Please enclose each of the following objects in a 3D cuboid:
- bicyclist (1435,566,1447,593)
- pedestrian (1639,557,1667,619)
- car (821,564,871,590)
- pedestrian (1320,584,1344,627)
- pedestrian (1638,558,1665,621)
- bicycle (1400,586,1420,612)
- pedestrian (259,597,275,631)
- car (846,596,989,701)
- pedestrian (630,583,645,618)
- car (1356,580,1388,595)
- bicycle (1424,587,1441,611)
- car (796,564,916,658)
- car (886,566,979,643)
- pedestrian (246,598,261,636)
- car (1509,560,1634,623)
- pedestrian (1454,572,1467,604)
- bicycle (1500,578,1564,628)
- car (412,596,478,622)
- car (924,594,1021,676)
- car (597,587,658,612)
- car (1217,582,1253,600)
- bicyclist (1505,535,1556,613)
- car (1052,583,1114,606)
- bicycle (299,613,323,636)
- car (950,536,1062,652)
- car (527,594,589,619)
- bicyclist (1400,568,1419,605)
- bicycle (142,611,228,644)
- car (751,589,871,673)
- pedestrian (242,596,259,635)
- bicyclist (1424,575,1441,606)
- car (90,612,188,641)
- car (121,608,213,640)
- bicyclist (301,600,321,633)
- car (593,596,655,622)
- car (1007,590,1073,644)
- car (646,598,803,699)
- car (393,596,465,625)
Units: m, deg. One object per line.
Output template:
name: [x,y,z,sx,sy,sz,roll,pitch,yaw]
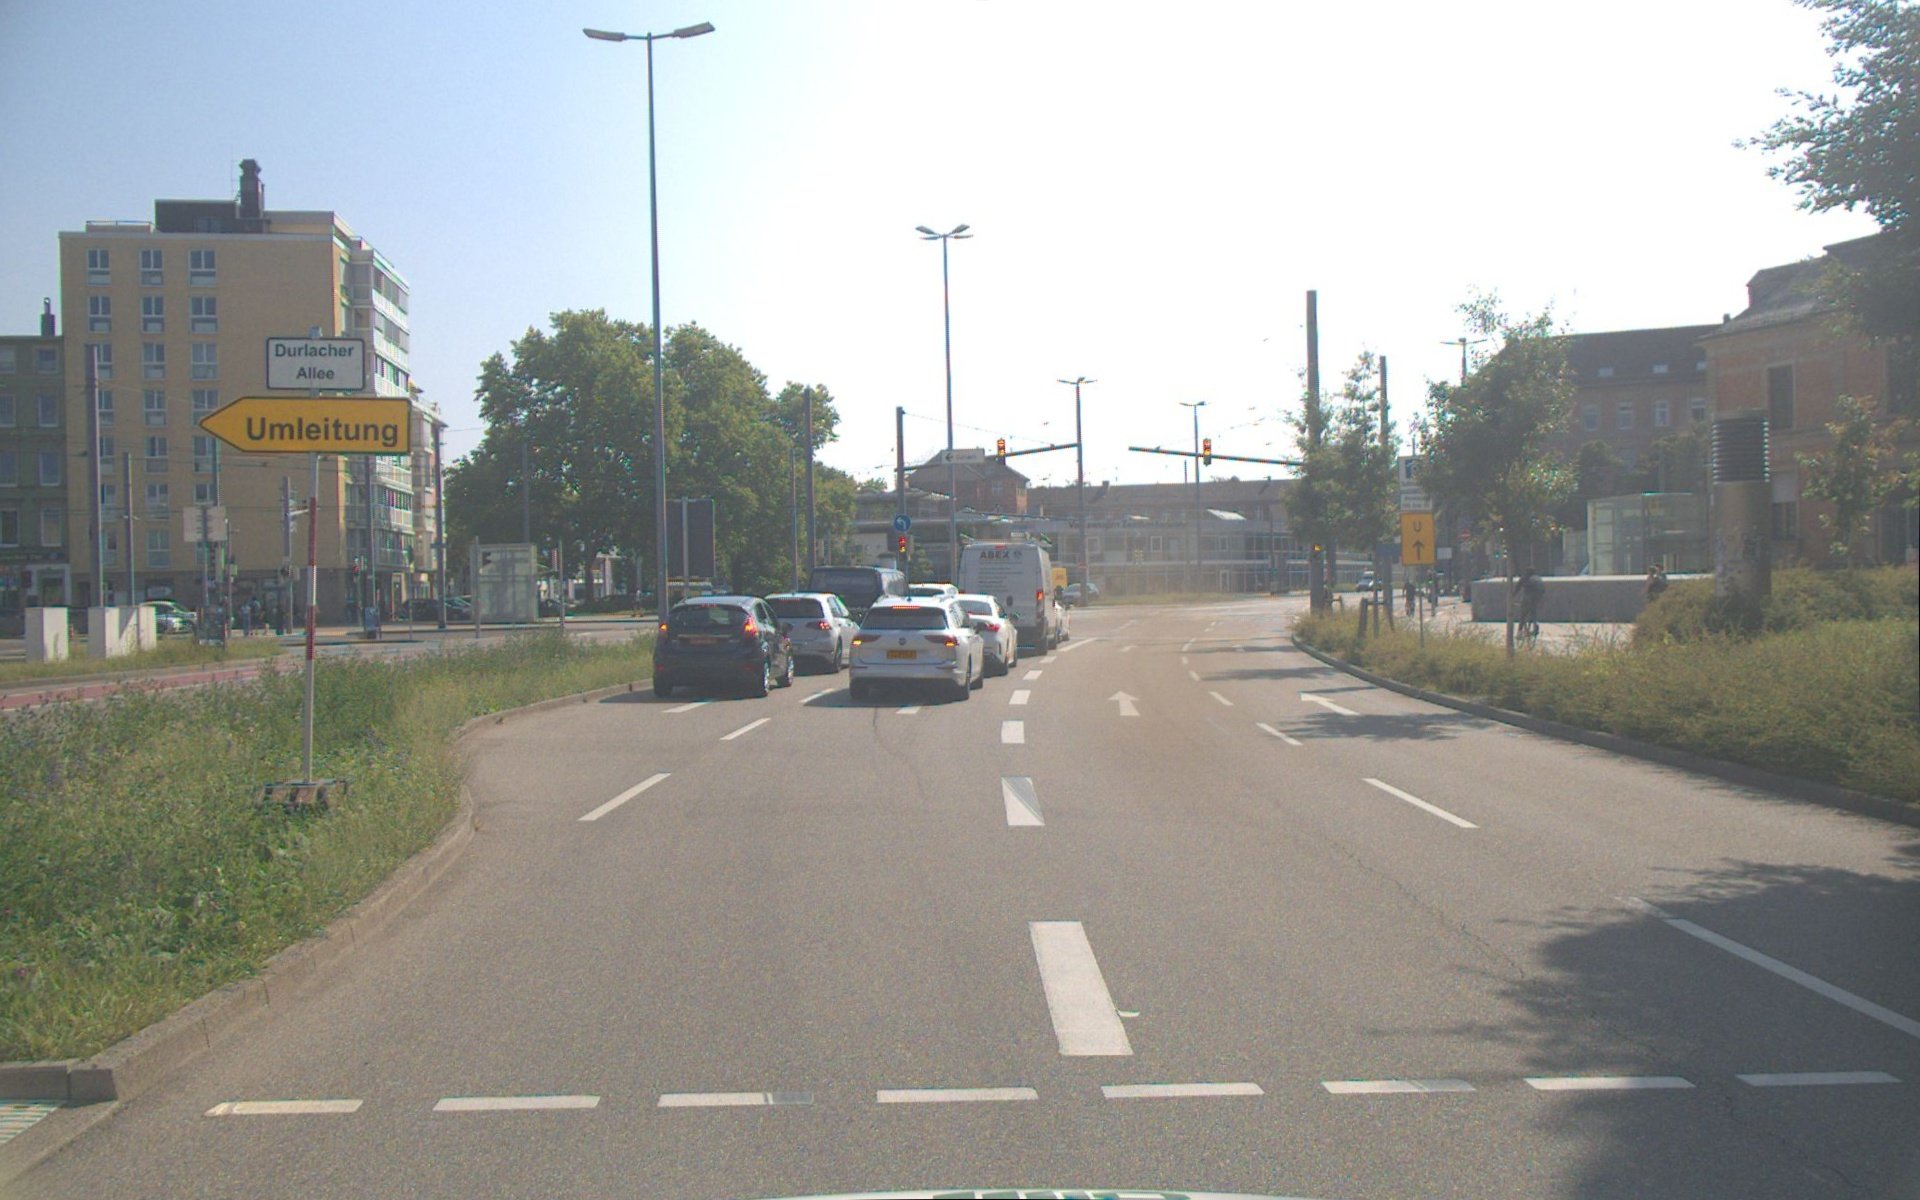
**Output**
bicyclist: [34.229,-1.454,117.781,0.731,1.861,0.807,-1,0,19]
pedestrian: [18.840,-0.322,44.957,0.601,1.657,0.534,-1,0,16]
car: [-9.388,-1.911,136.489,3.903,2.048,2.002,-1,3,3]
pedestrian: [12.338,0.178,54.876,0.623,1.385,0.634,-1,0,2]
pedestrian: [18.544,-0.292,44.352,0.602,1.667,0.533,-1,0,26]
bicycle: [19.284,-0.052,70.819,0.691,1.080,1.983,-1,0,19]
pedestrian: [-31.679,0.653,75.631,0.433,1.513,0.495,2,3,44]
car: [-0.549,0.666,24.386,1.649,1.412,3.636,-1,0,6]
pedestrian: [-19.323,0.034,99.170,0.806,2.049,0.508,-1,0,-6]
car: [41.667,-1.249,167.140,1.958,1.467,3.989,-1,1,33]
bicycle: [22.392,-0.062,78.361,0.691,1.080,1.983,-1,0,19]
car: [-2.353,0.226,38.617,1.980,2.043,4.687,-1,0,7]
car: [-0.696,0.108,46.294,1.980,2.043,4.687,-1,0,7]
pedestrian: [-32.092,0.767,75.148,0.433,1.714,0.453,2,3,44]
car: [21.738,-0.324,58.840,3.919,2.048,1.748,-2,3,-14]
pedestrian: [32.199,-0.781,106.374,0.731,2.049,0.807,-1,0,19]
bicycle: [11.942,0.051,34.590,0.755,0.993,2.151,-1,0,5]
car: [-34.170,0.614,109.815,3.913,1.585,1.865,-2,0,-9]
car: [0.288,0.618,30.919,1.457,1.427,3.945,-1,0,6]
car: [-23.060,-0.028,114.697,3.908,1.646,1.812,-2,0,-4]
car: [24.682,-0.822,148.511,1.956,1.467,3.994,-1,1,29]
bicyclist: [11.926,-0.540,34.609,0.755,1.606,0.991,-1,0,5]
car: [8.017,-0.350,107.972,3.884,1.366,1.930,-1,0,0]
bicycle: [-29.443,1.099,75.021,0.714,1.001,1.727,-1,0,-12]
car: [1.171,-0.124,39.506,2.142,2.594,4.687,-1,0,8]
car: [-27.233,0.433,112.152,3.913,1.585,1.725,-1,0,-9]
bicyclist: [19.260,-0.564,70.814,0.698,1.556,0.807,-1,0,19]
bicycle: [-41.181,1.473,87.916,3.914,1.578,1.193,-1,3,-10]
car: [-2.756,0.548,31.326,1.457,1.439,3.651,-1,1,8]
pedestrian: [-31.871,0.696,74.329,0.445,1.714,0.548,-1,3,4]
bicyclist: [22.383,-0.448,78.387,0.691,1.418,0.830,-1,0,19]
car: [-38.183,1.237,76.967,3.754,1.200,1.574,-1,-2,-5]
car: [-38.377,1.145,80.078,3.667,1.417,1.584,-1,0,-8]
bicyclist: [-29.465,0.739,75.084,0.713,1.459,0.688,-1,0,-12]
car: [-22.835,0.606,112.546,3.908,1.646,1.812,-2,0,-4]
car: [2.312,0.458,47.158,1.602,1.428,3.690,-1,0,7]
car: [-3.510,0.677,25.259,1.666,1.392,3.965,-1,0,2]
car: [-32.929,0.651,102.634,3.911,1.584,1.867,-1,3,-7]
